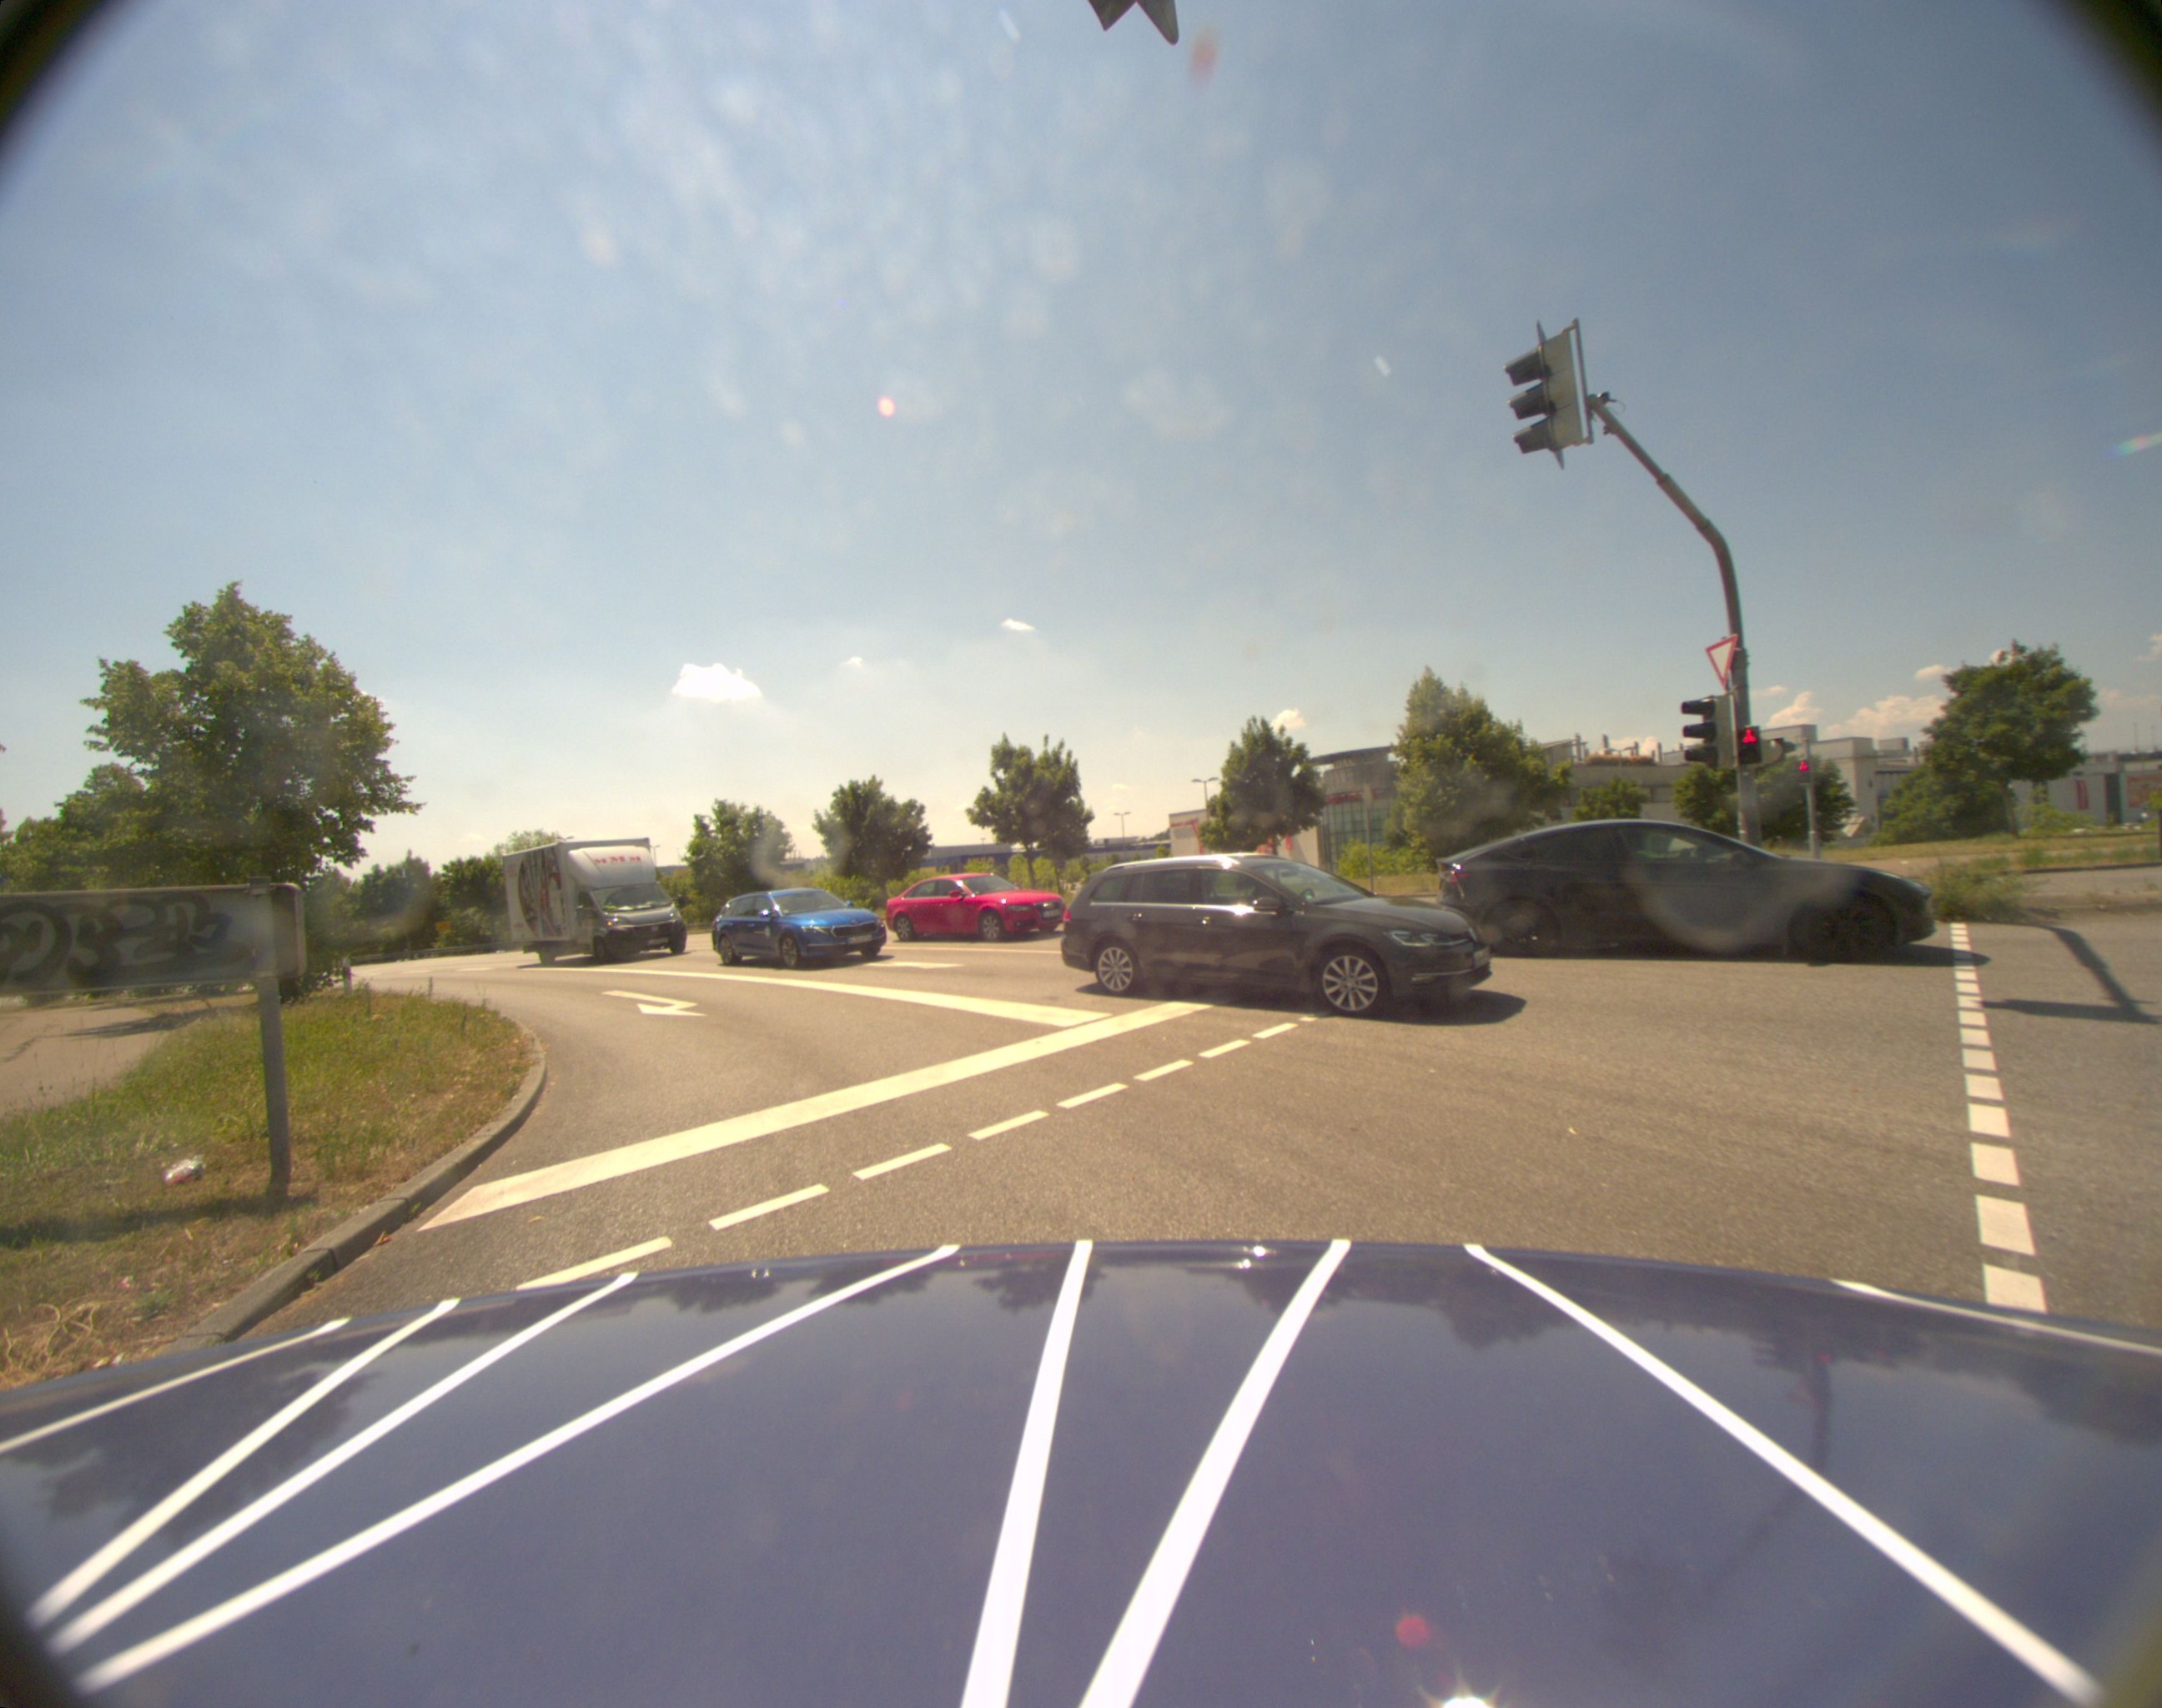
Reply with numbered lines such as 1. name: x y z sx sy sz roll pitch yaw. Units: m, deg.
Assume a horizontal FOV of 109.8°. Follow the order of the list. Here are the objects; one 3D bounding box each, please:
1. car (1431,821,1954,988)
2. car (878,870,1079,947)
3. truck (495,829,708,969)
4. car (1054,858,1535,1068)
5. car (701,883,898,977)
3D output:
1. car: 6.852 0.556 9.206 4.494 1.592 1.884 -3 1 31
2. car: -2.330 1.189 16.591 4.438 1.380 1.669 -4 0 39
3. truck: -13.800 1.379 21.605 7.186 3.328 2.419 -6 0 36
4. car: 1.926 0.879 7.856 4.417 1.474 1.787 -2 2 44
5. car: -5.690 1.483 15.038 4.478 1.454 1.716 -6 0 43
